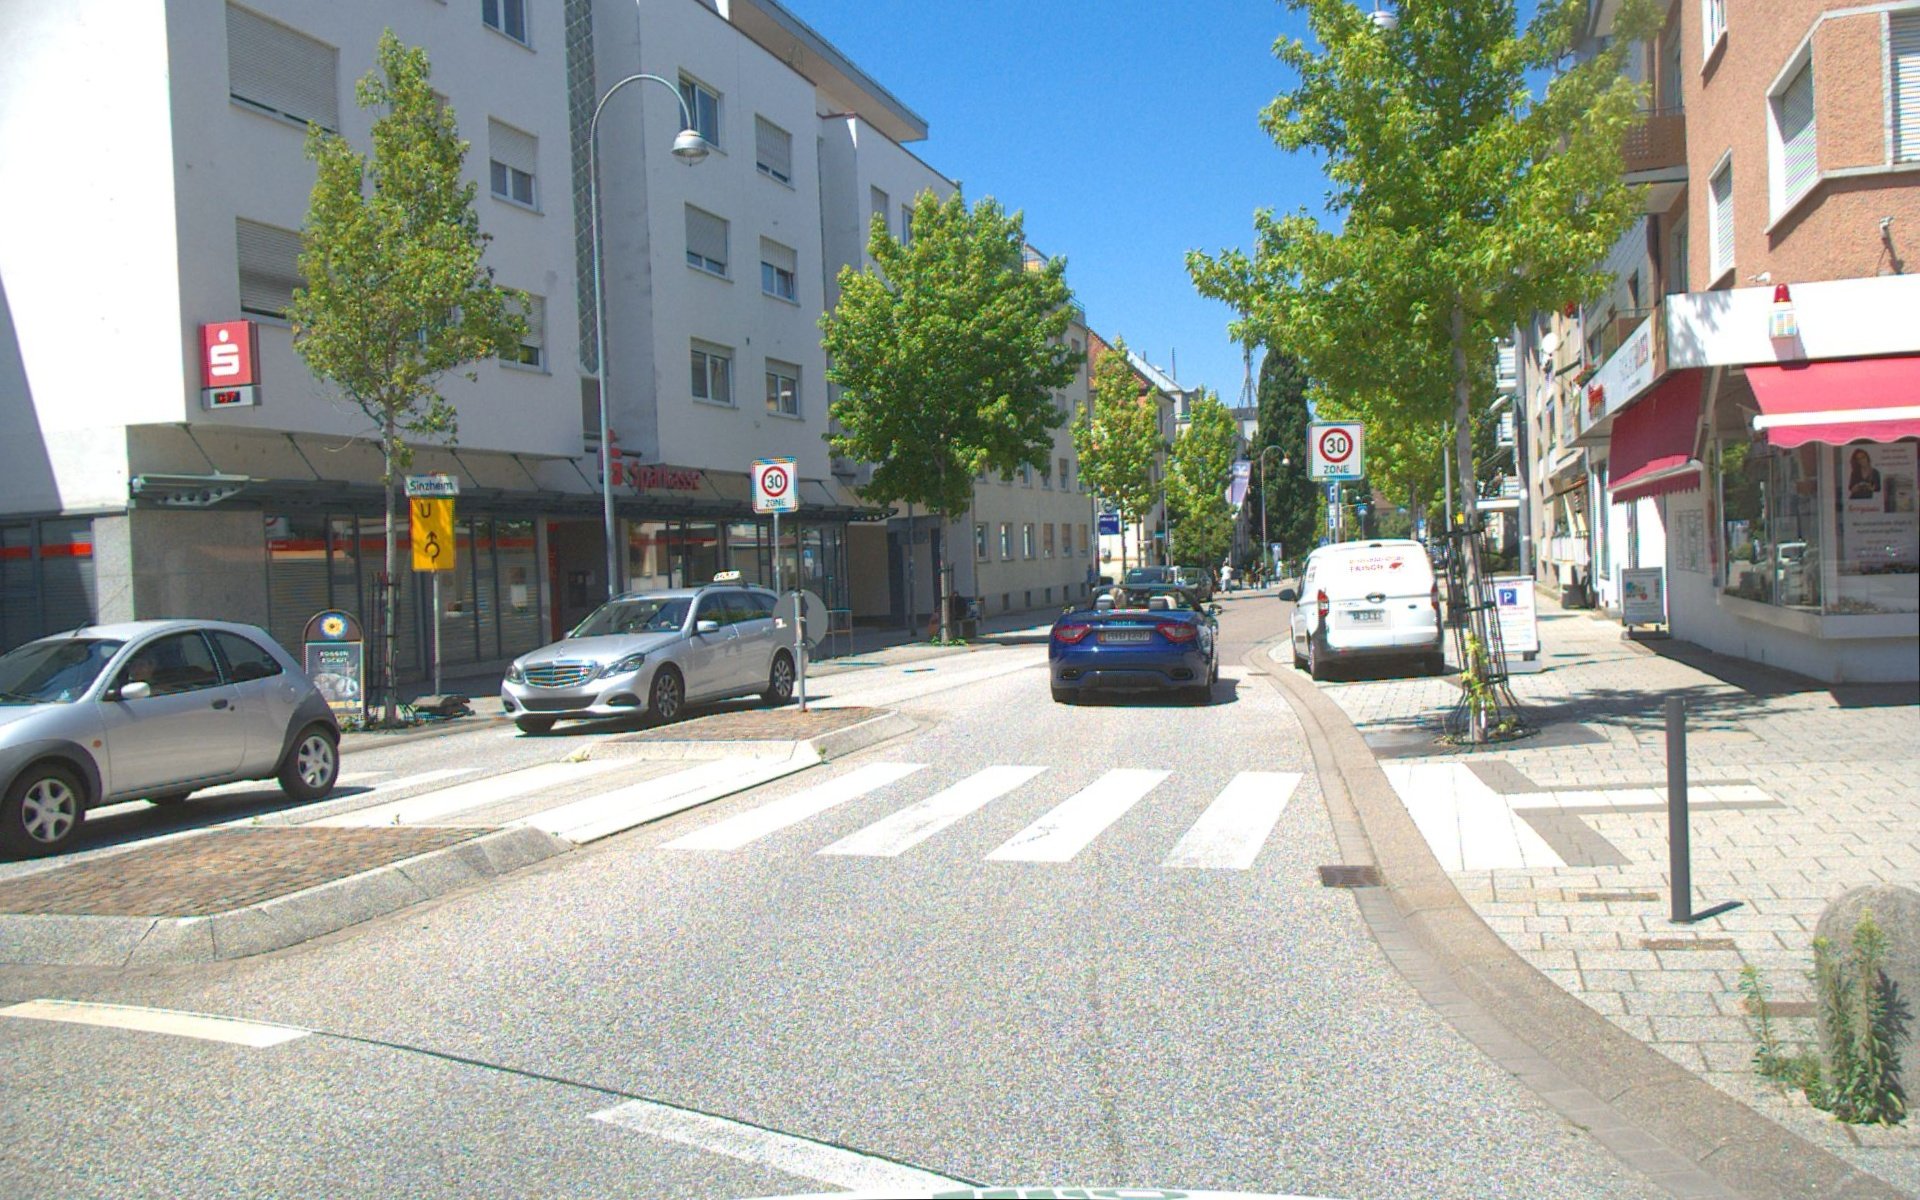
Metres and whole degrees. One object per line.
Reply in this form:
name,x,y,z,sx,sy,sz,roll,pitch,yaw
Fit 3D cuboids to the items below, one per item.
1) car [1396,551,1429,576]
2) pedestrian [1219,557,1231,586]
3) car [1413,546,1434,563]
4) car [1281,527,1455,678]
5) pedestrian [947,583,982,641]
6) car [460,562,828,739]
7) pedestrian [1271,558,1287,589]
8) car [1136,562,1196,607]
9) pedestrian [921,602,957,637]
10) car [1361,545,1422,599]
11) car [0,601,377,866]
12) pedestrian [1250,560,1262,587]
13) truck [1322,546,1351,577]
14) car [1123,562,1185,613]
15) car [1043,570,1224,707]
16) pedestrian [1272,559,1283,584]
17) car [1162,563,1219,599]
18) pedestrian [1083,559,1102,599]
car,30.365,-2.463,110.872,1.934,1.475,4.353,-4,2,17
pedestrian,14.251,-1.522,88.930,0.567,1.500,0.565,-2,1,16
car,46.436,-4.553,165.519,1.909,1.501,4.141,-4,1,16
car,5.424,-0.004,22.413,1.710,1.754,3.913,-4,1,7
pedestrian,0.113,0.295,41.180,0.556,1.396,0.666,-3,0,26
car,-3.457,0.481,19.326,1.952,1.620,5.002,-3,1,18
pedestrian,20.973,-1.755,108.736,0.831,1.948,0.762,-4,3,15
car,8.400,-0.652,67.264,1.785,1.647,4.397,-1,2,15
pedestrian,-0.534,0.505,42.308,0.651,0.873,0.732,-3,-3,26
car,17.199,-1.134,65.769,1.952,1.829,4.572,-3,2,19
car,-6.096,0.856,11.694,1.664,1.483,3.791,-3,1,19
pedestrian,16.588,-1.502,92.706,0.567,1.500,0.565,-2,1,16
truck,29.113,-3.001,127.881,1.767,2.154,4.719,-4,1,17
car,7.340,-0.494,62.222,1.692,1.770,4.396,1,2,15
car,2.184,0.383,20.316,1.934,1.422,4.631,-1,1,7
pedestrian,20.843,-1.876,108.701,0.574,1.601,0.782,-2,1,16
car,10.223,-0.863,73.196,1.717,1.499,4.324,0,2,19
pedestrian,5.845,-0.925,72.999,0.642,1.709,0.631,-4,3,-1
